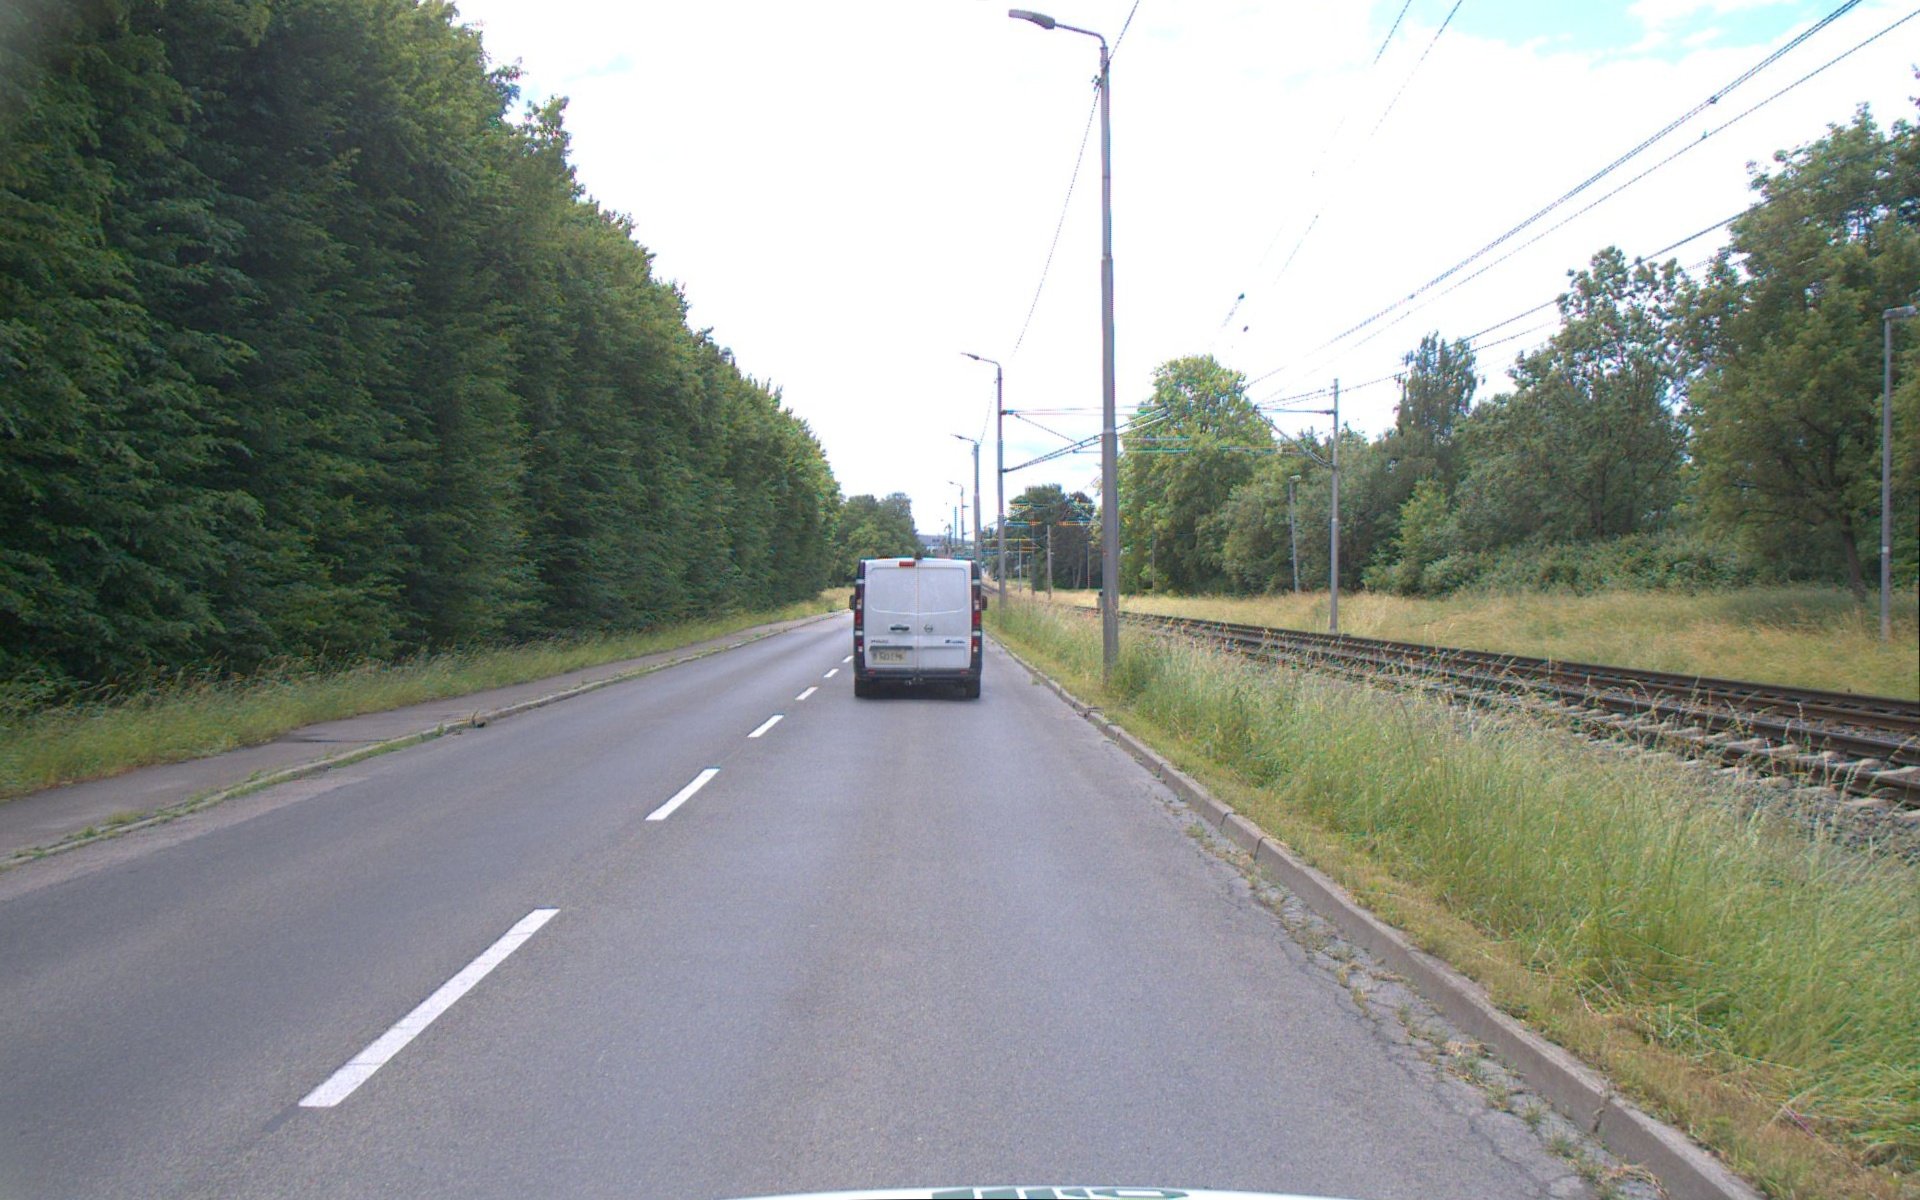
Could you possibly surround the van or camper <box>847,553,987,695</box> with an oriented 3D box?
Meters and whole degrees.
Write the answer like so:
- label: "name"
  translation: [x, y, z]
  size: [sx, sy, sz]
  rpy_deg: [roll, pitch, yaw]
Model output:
- label: "van or camper"
  translation: [-0.667, 0.307, 24.809]
  size: [1.903, 1.930, 4.283]
  rpy_deg: [-1, 1, -2]
